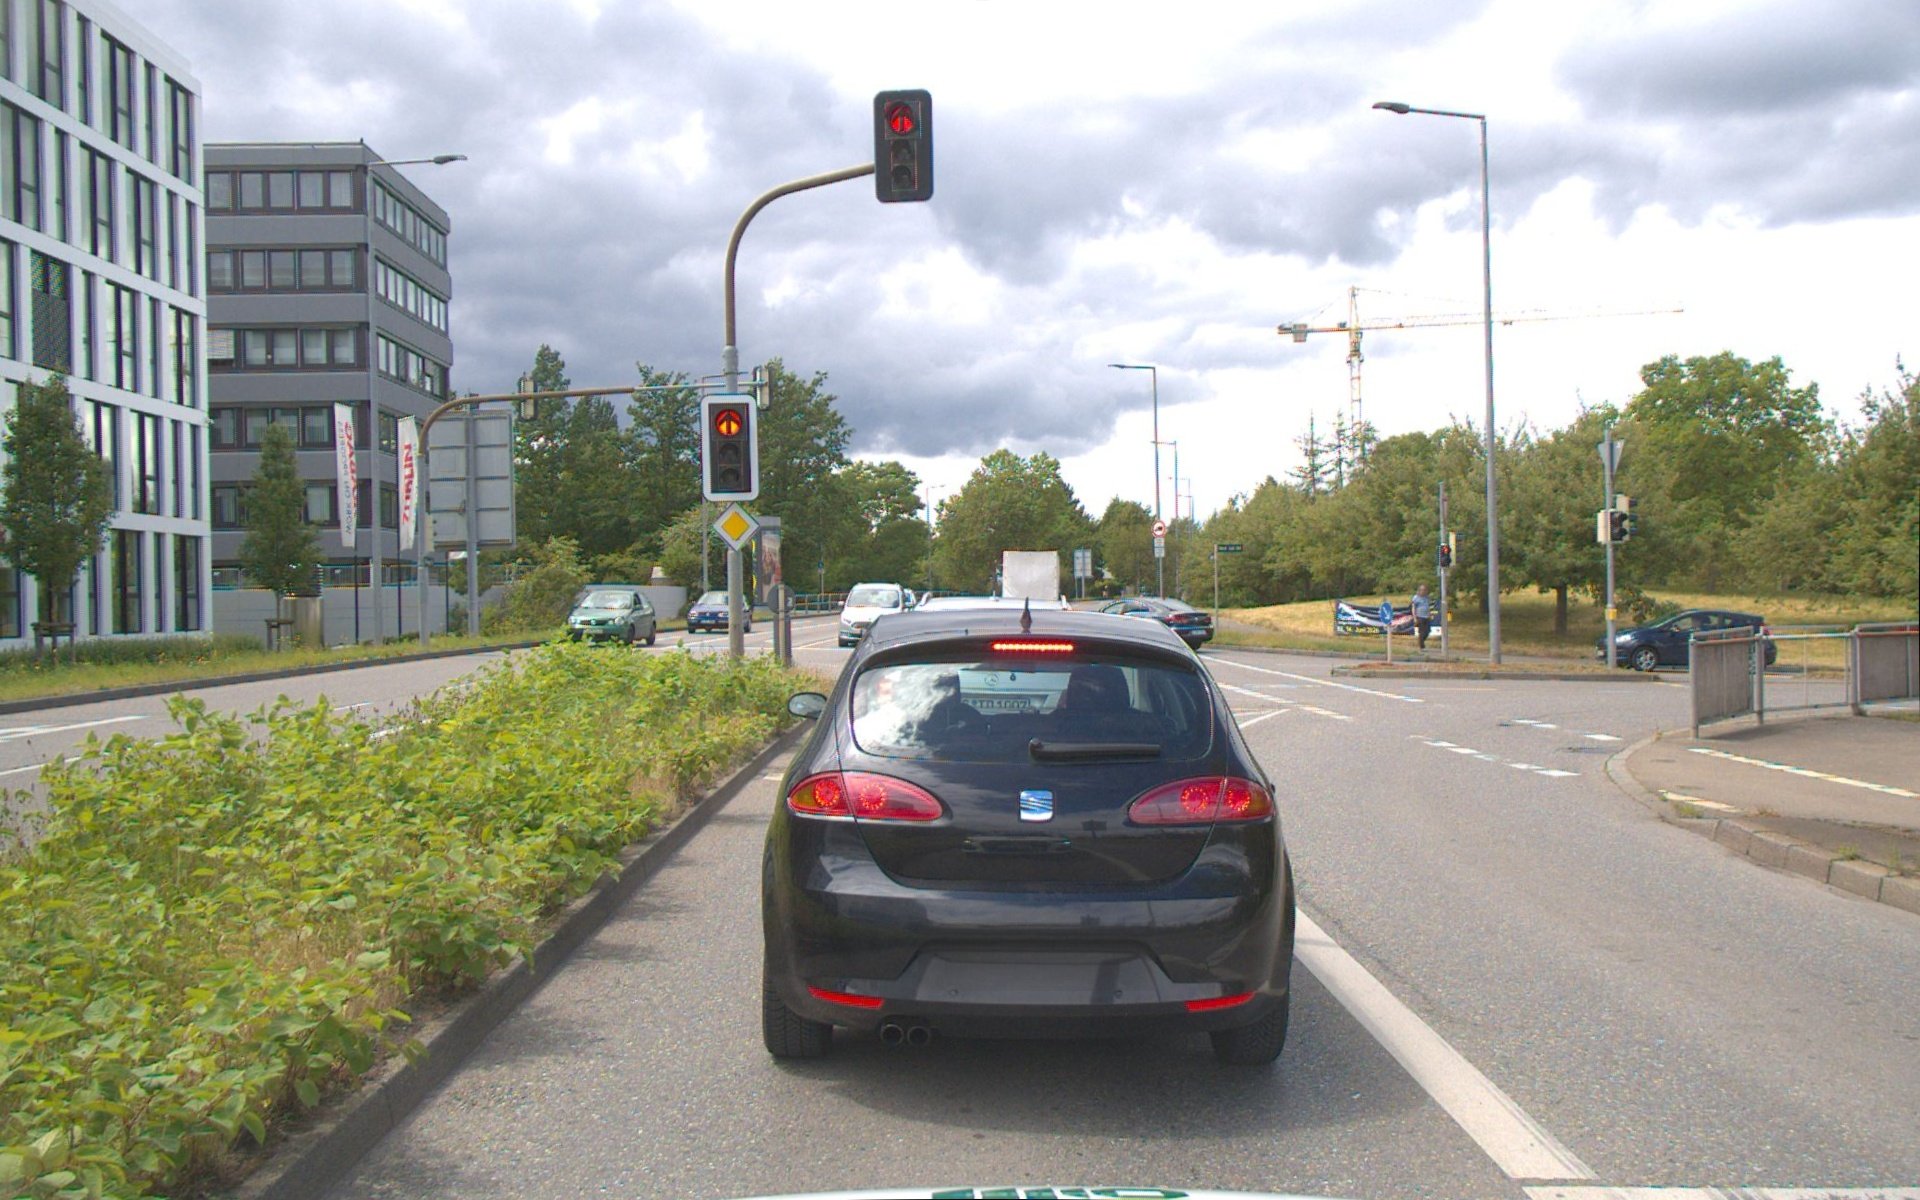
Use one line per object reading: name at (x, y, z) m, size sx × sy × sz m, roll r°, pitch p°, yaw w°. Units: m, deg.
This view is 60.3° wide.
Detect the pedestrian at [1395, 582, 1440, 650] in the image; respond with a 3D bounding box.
pedestrian at (12.511, 0.444, 45.266) m, size 0.707 × 1.824 × 1.037 m, roll 1°, pitch -1°, yaw -20°

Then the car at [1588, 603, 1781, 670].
car at (16.935, 0.830, 38.826) m, size 3.796 × 1.471 × 1.761 m, roll 1°, pitch 0°, yaw 8°

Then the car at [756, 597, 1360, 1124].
car at (0.258, 0.729, 6.357) m, size 1.676 × 1.442 × 3.459 m, roll 1°, pitch 0°, yaw -1°

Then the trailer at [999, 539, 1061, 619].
trailer at (2.925, -0.811, 68.492) m, size 2.439 × 3.127 × 5.589 m, roll 1°, pitch 0°, yaw 3°

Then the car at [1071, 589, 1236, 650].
car at (5.246, 0.496, 45.325) m, size 1.981 × 1.593 × 4.408 m, roll 0°, pitch 0°, yaw -39°

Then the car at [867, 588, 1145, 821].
car at (0.318, 0.693, 12.699) m, size 1.797 × 1.493 × 3.751 m, roll 1°, pitch 0°, yaw 0°

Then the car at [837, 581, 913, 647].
car at (-2.321, 0.350, 46.162) m, size 1.783 × 1.716 × 4.646 m, roll 1°, pitch 1°, yaw 1°

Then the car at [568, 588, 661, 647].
car at (-9.014, 0.432, 43.394) m, size 1.572 × 1.457 × 3.753 m, roll 0°, pitch 0°, yaw 1°

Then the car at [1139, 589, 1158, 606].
car at (18.609, -0.234, 163.310) m, size 1.631 × 1.624 × 4.003 m, roll 1°, pitch 0°, yaw 10°

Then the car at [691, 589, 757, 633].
car at (-8.107, 0.343, 57.119) m, size 1.521 × 1.444 × 3.897 m, roll 1°, pitch 1°, yaw 3°

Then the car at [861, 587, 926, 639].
car at (-2.065, 0.383, 52.244) m, size 1.625 × 1.545 × 4.086 m, roll 1°, pitch 1°, yaw 3°
